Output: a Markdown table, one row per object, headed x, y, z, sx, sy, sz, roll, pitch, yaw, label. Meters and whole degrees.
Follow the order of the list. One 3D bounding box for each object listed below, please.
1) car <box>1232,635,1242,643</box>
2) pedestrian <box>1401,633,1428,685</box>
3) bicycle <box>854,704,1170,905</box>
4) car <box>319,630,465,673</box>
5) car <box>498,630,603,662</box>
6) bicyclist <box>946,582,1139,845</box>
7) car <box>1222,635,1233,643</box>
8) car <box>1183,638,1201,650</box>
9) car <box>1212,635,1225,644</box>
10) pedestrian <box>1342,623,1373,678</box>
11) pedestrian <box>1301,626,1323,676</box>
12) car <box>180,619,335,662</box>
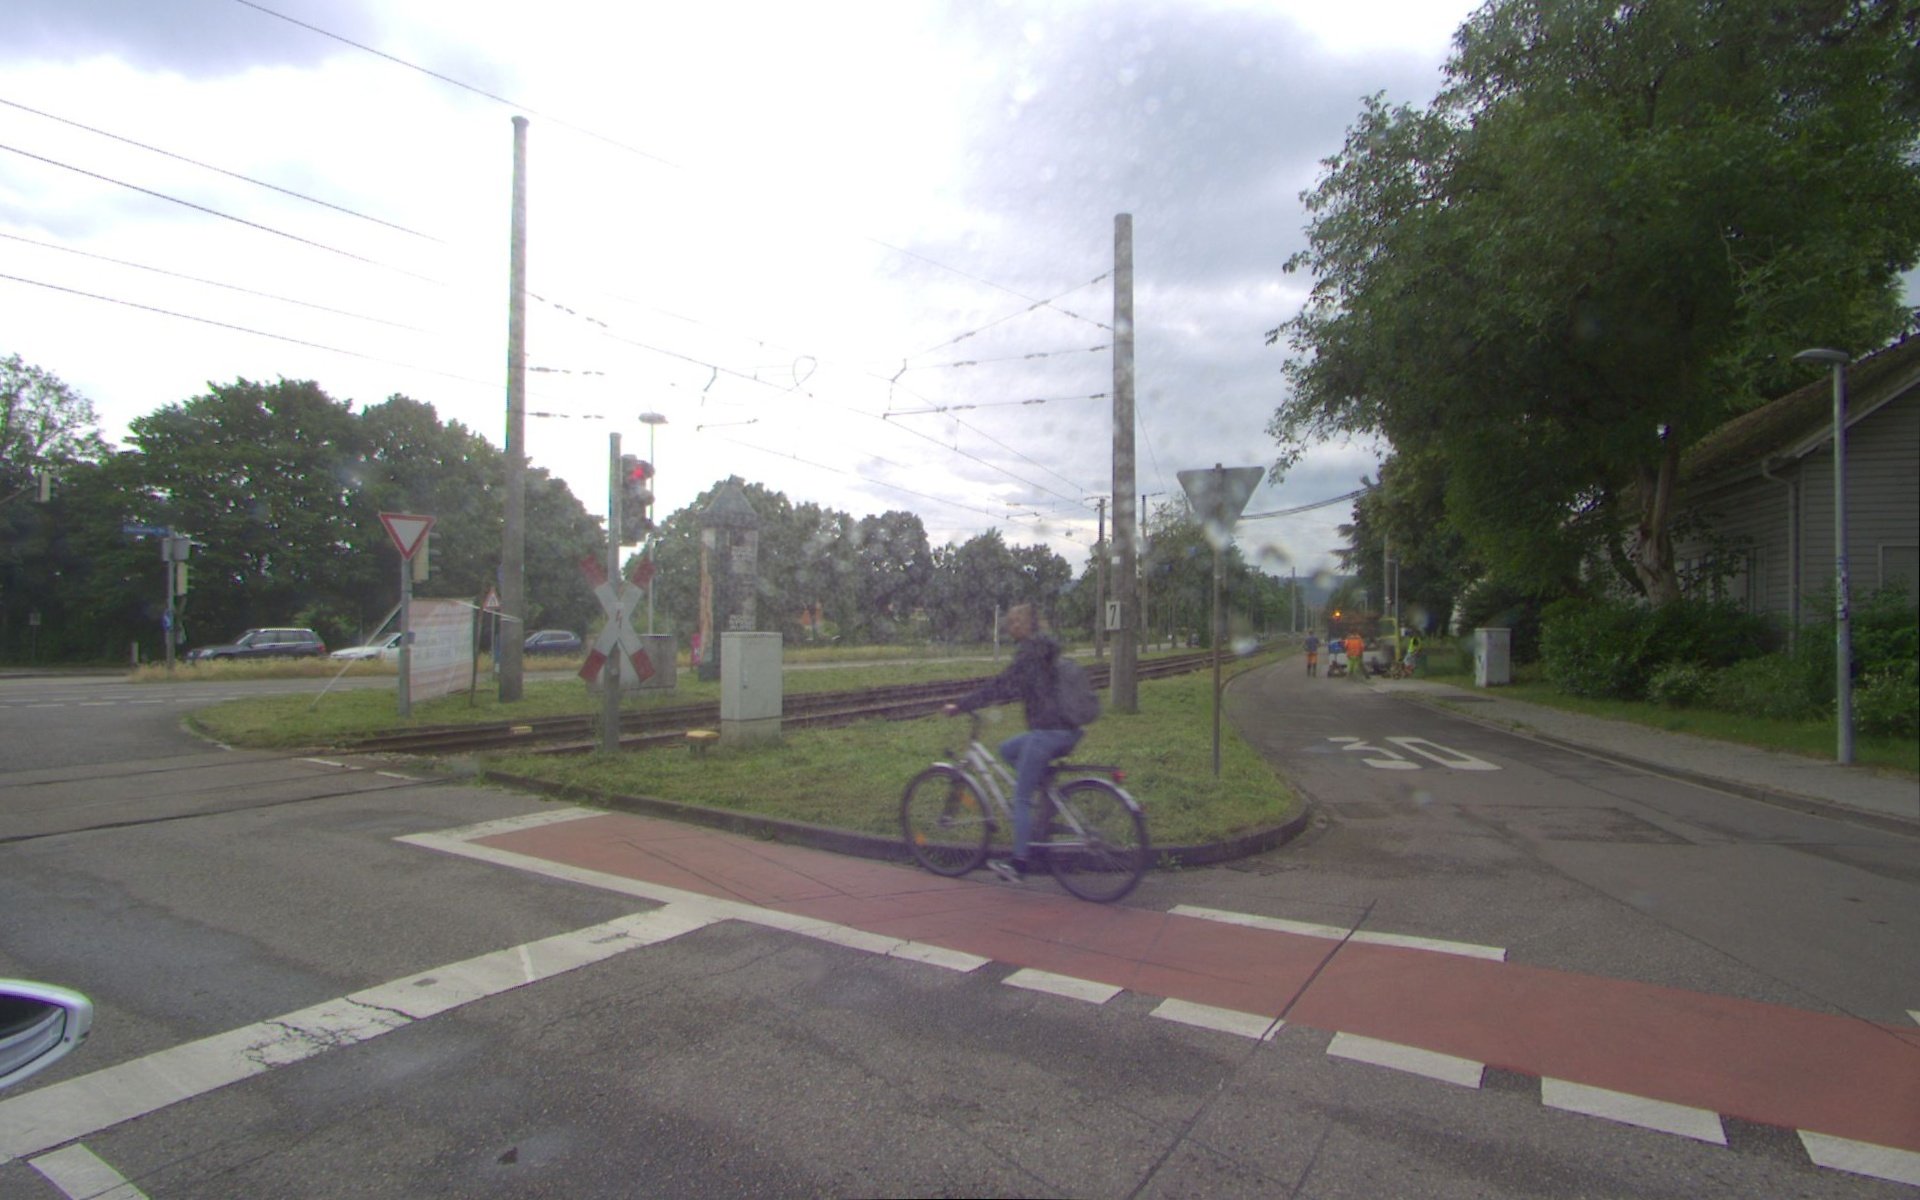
| x | y | z | sx | sy | sz | roll | pitch | yaw | label |
| --- | --- | --- | --- | --- | --- | --- | --- | --- | --- |
| 57.839 | 8.127 | 208.831 | 1.963 | 1.460 | 3.997 | -1 | -2 | 16 | car |
| 16.656 | 2.156 | 36.682 | 0.598 | 1.864 | 0.712 | 1 | -1 | -13 | pedestrian |
| 0.255 | 1.175 | 6.101 | 2.001 | 0.993 | 0.382 | -1 | -2 | 32 | bicycle |
| -19.651 | 1.766 | 34.812 | 1.624 | 1.374 | 4.129 | 0 | -2 | 33 | car |
| -19.652 | 2.194 | 48.231 | 1.820 | 1.458 | 4.456 | 0 | -2 | 33 | car |
| 0.502 | 0.657 | 6.020 | 0.947 | 1.441 | 0.621 | -1 | -5 | 32 | bicyclist |
| 51.102 | 7.498 | 191.071 | 1.963 | 1.460 | 3.997 | -1 | -2 | 16 | car |
| 32.878 | 6.240 | 142.019 | 1.966 | 1.743 | 3.992 | -1 | -2 | 21 | car |
| 44.404 | 6.822 | 171.974 | 1.963 | 1.460 | 3.997 | -1 | -2 | 16 | car |
| 13.899 | 1.768 | 34.975 | 0.862 | 1.878 | 0.676 | 1 | -1 | 34 | pedestrian |
| 13.501 | 1.957 | 38.415 | 0.757 | 1.892 | 0.604 | 0 | -1 | 17 | pedestrian |
| -26.482 | 1.527 | 37.897 | 1.820 | 1.523 | 4.456 | 0 | -2 | 33 | car |
